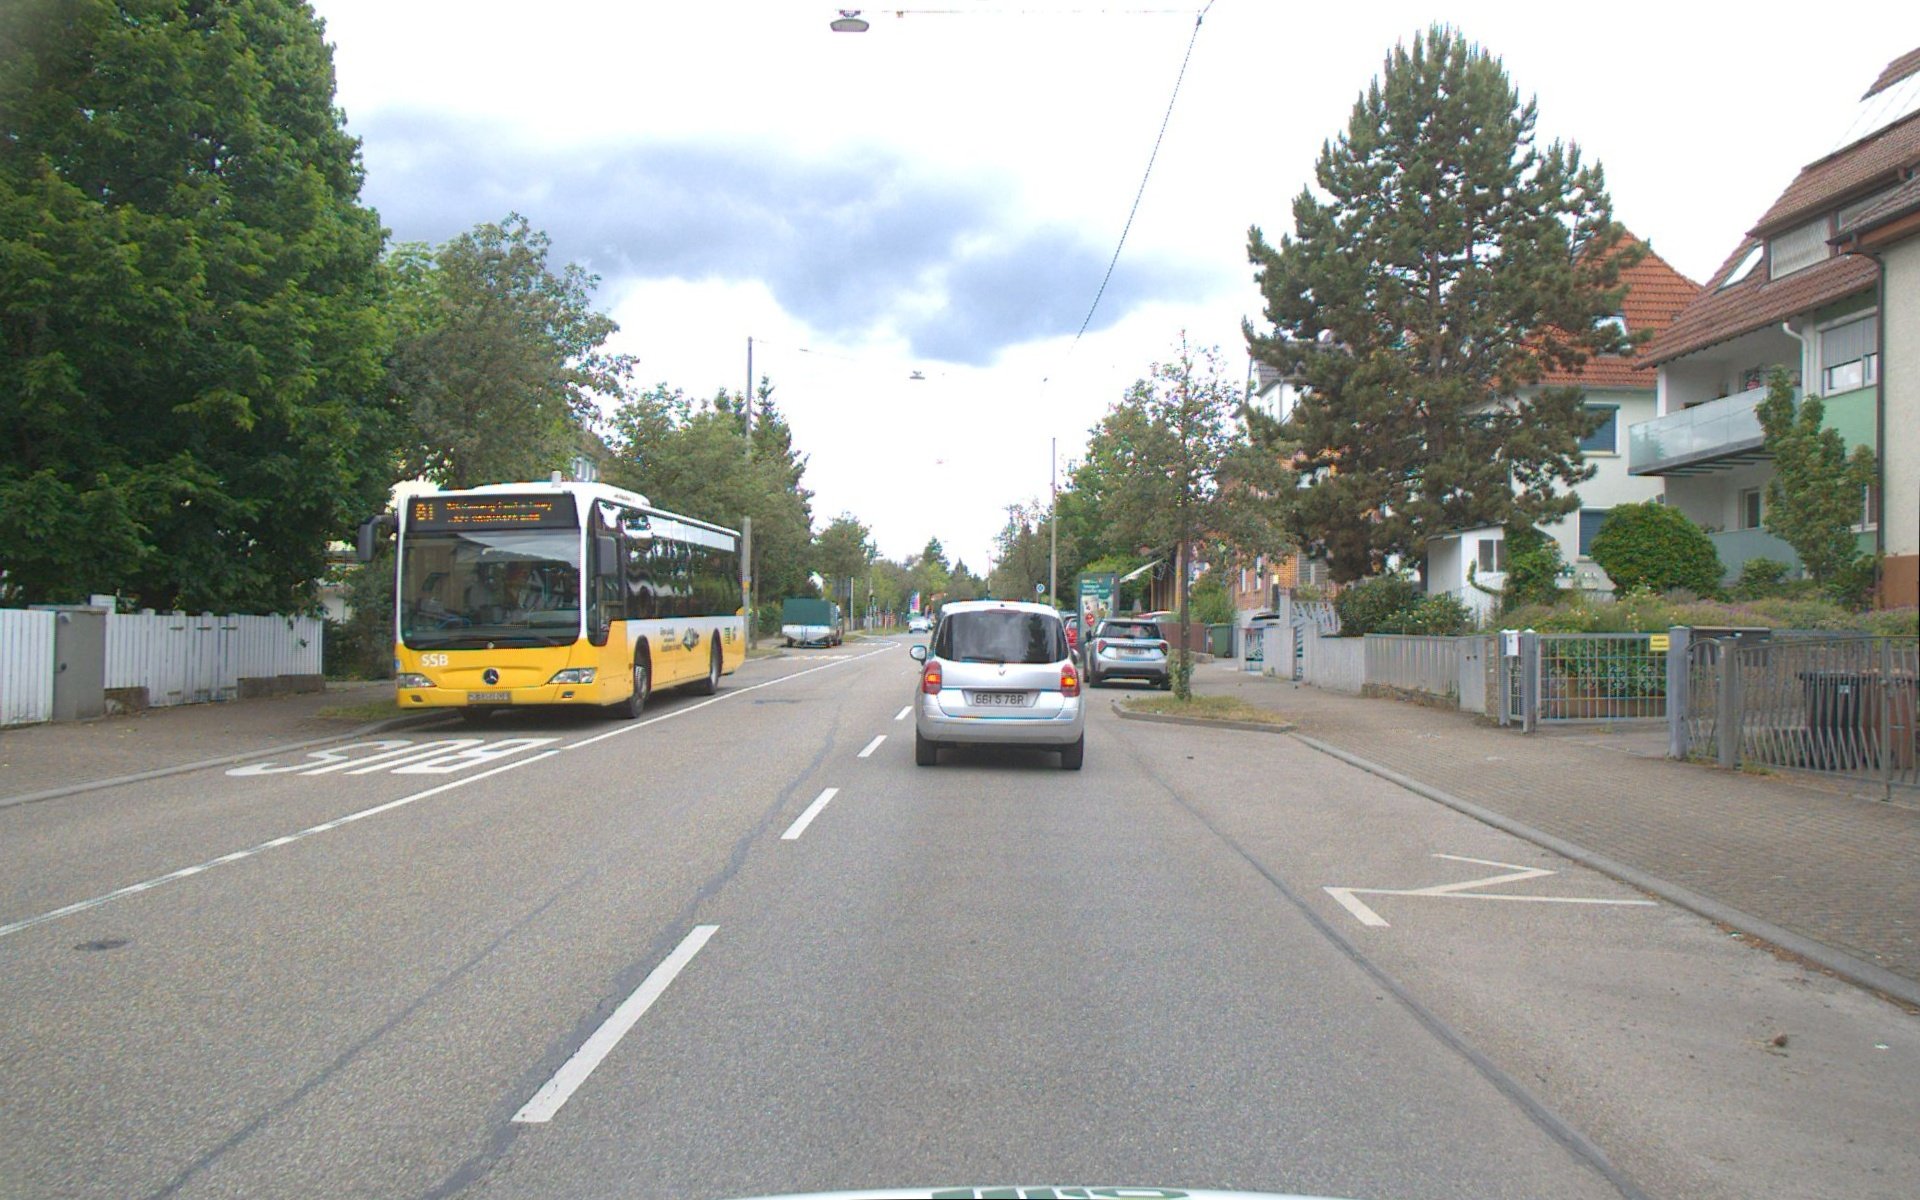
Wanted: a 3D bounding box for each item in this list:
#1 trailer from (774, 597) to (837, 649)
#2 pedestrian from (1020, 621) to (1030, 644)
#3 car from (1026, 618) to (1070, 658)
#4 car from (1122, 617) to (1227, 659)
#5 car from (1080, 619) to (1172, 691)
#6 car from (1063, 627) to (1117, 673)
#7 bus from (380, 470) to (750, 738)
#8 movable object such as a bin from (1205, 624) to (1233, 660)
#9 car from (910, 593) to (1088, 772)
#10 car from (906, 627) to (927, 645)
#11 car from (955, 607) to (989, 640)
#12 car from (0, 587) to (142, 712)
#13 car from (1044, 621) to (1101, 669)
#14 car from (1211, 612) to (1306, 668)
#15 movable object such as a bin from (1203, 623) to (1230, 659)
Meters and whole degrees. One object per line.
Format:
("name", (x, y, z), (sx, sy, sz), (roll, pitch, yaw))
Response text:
("trailer", (-6.861, 1.077, 74.023), (2.265, 2.123, 5.871), (2, -2, -1))
("pedestrian", (4.860, 2.403, 123.142), (0.691, 1.676, 0.773), (0, -1, 0))
("car", (4.004, 1.756, 75.342), (1.775, 1.773, 3.999), (0, -2, 0))
("car", (8.775, 1.539, 67.811), (3.912, 1.523, 1.807), (-2, -1, -8))
("car", (3.489, 1.177, 35.281), (1.616, 1.407, 4.000), (1, -2, 1))
("car", (4.213, 1.601, 54.009), (1.628, 1.417, 3.668), (0, -1, 3))
("bus", (-5.438, 0.117, 25.558), (2.578, 3.140, 12.070), (-1, -1, 1))
("movable object such as a bin", (8.180, 1.331, 52.211), (0.760, 1.123, 0.691), (0, -1, 0))
("car", (0.425, 0.823, 17.272), (1.596, 1.584, 4.000), (2, -2, 2))
("car", (-4.305, 3.565, 163.889), (1.868, 1.646, 3.996), (2, -2, -4))
("car", (0.670, 1.287, 89.694), (1.791, 1.705, 3.574), (1, -1, 1))
("car", (-13.218, 0.658, 22.804), (1.770, 1.592, 4.615), (-1, 0, -3))
("car", (3.970, 1.566, 58.825), (1.629, 1.592, 4.097), (1, -1, -2))
("car", (8.960, 1.167, 49.353), (1.782, 1.404, 4.479), (-5, -1, 23))
("movable object such as a bin", (8.223, 1.317, 52.969), (0.760, 1.123, 0.691), (0, -1, 0))
